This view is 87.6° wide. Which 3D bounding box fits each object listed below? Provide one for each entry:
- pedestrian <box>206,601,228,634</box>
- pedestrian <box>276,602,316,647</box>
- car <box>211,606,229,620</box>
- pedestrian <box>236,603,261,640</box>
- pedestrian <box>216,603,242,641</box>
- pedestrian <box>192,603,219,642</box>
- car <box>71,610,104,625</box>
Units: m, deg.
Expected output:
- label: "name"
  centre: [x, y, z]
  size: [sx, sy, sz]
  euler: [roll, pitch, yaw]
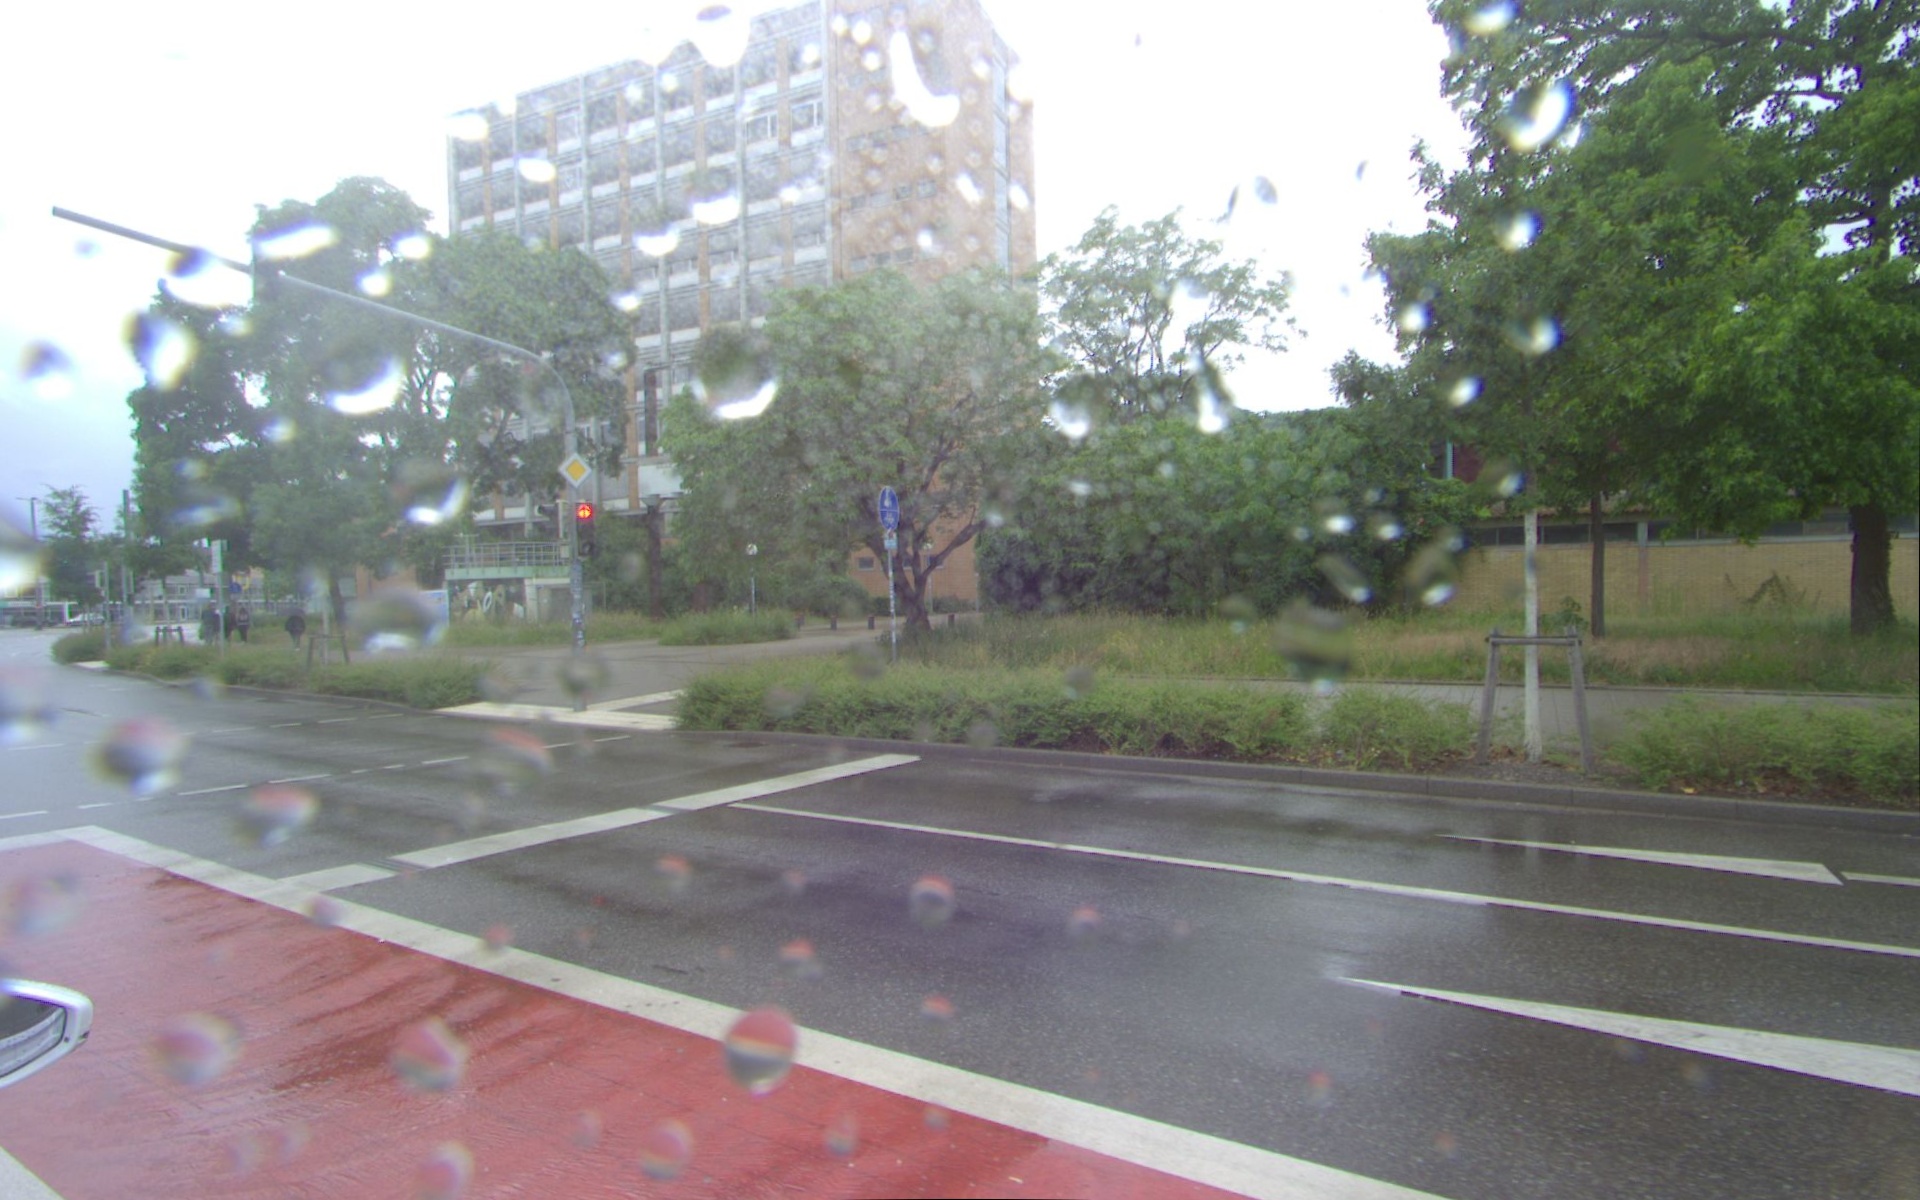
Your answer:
- label: "pedestrian"
  centre: [-36.426, 0.849, 49.080]
  size: [0.698, 1.609, 0.927]
  euler: [-2, 1, -45]
- label: "pedestrian"
  centre: [-24.321, 0.897, 36.668]
  size: [0.926, 1.609, 1.017]
  euler: [0, 1, 43]
- label: "car"
  centre: [-94.308, 1.641, 127.618]
  size: [1.773, 1.665, 4.130]
  euler: [-1, 1, -36]
- label: "pedestrian"
  centre: [-31.367, 0.929, 44.155]
  size: [0.926, 1.609, 0.699]
  euler: [0, 1, 43]
- label: "pedestrian"
  centre: [-31.783, 0.942, 43.537]
  size: [0.926, 1.609, 0.699]
  euler: [0, 1, 43]
- label: "pedestrian"
  centre: [-32.463, 0.958, 43.088]
  size: [0.926, 1.609, 0.749]
  euler: [0, 1, 43]
- label: "car"
  centre: [-109.506, 2.182, 125.719]
  size: [1.765, 1.665, 4.148]
  euler: [-1, 0, -20]
